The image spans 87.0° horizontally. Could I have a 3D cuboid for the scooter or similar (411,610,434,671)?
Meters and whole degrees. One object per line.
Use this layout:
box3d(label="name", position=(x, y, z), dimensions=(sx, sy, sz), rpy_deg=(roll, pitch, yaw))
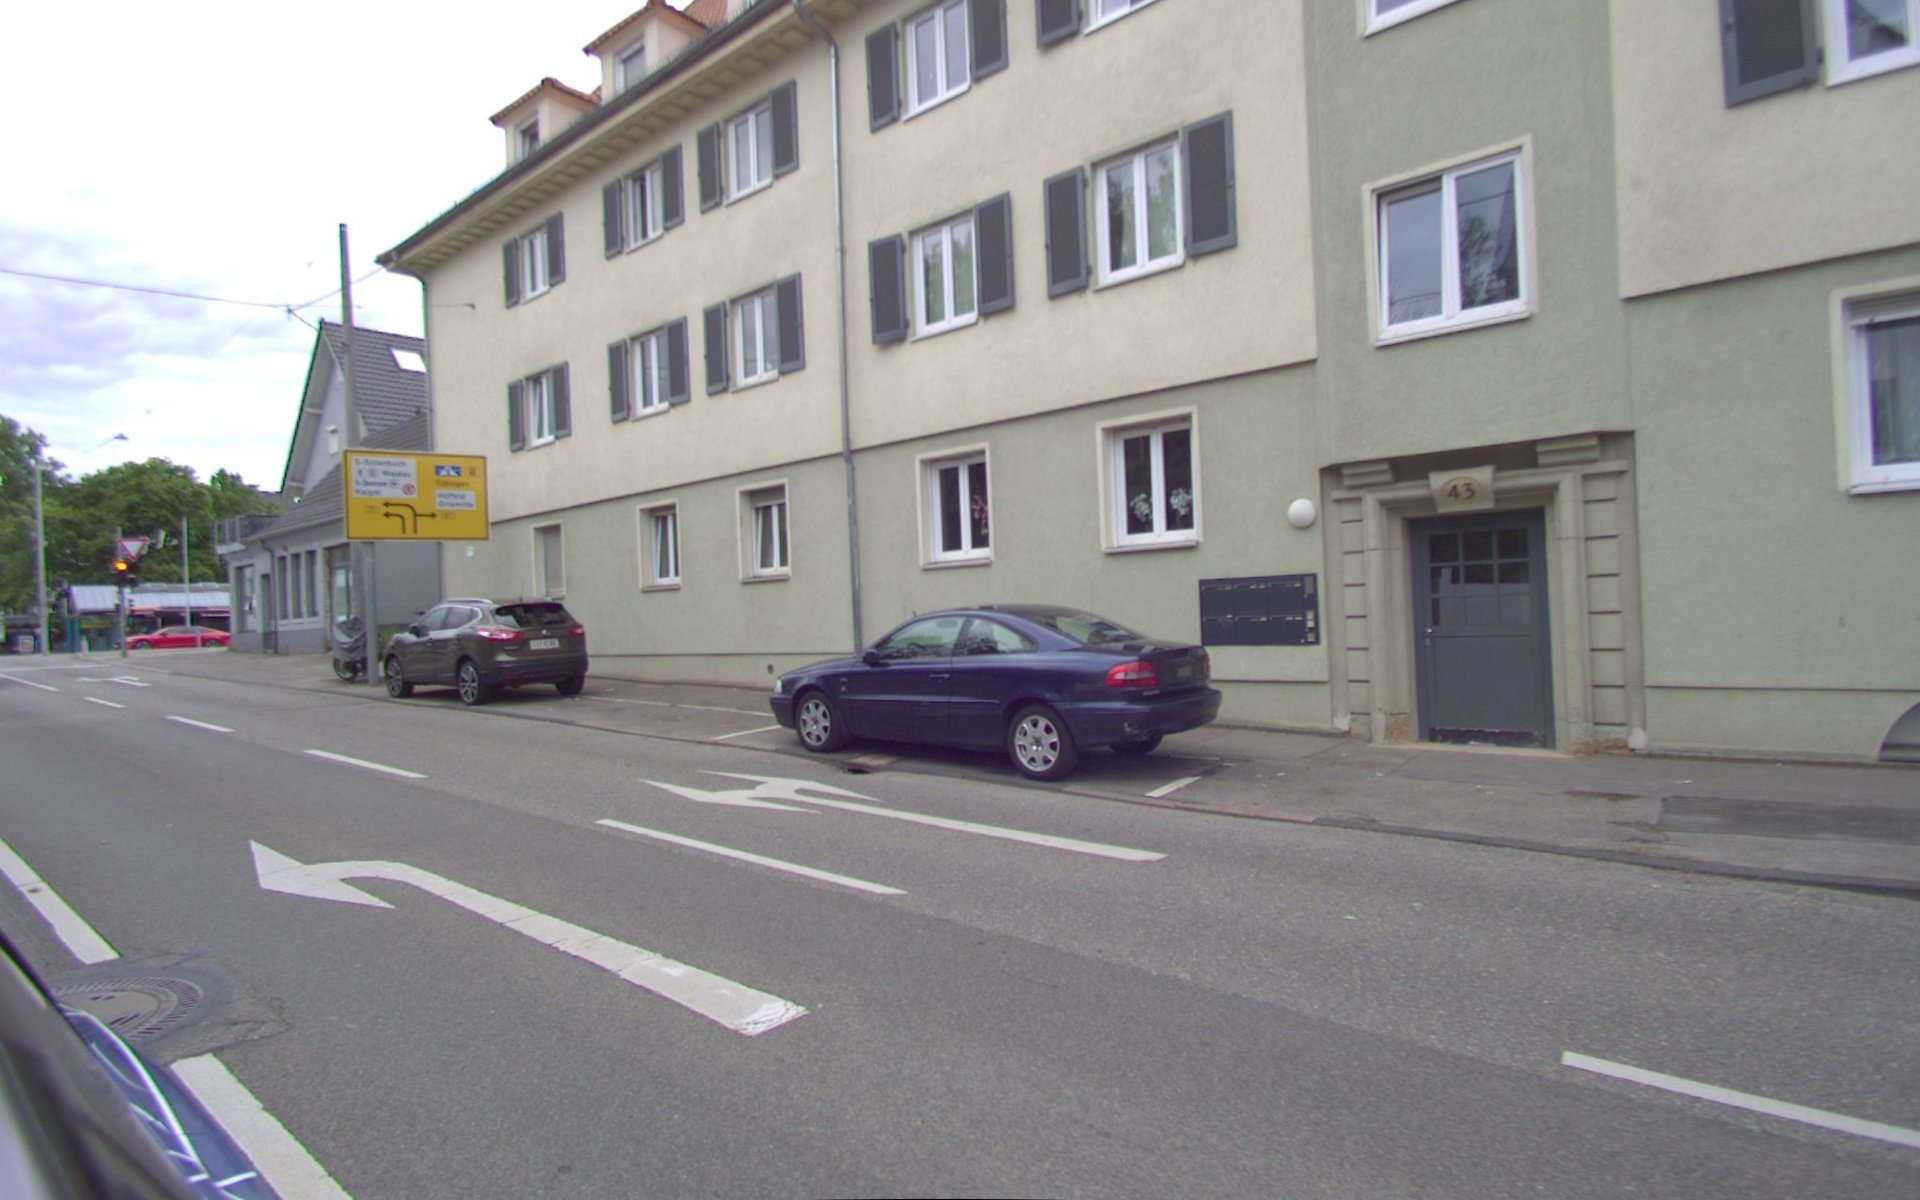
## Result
box3d(label="scooter or similar", position=(-11.743, 0.871, 22.114), dimensions=(0.351, 1.274, 0.989), rpy_deg=(-2, 2, -26))

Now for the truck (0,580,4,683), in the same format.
box3d(label="truck", position=(-23.882, 0.762, 23.254), dimensions=(6.585, 2.218, 2.099), rpy_deg=(-2, 0, 41))

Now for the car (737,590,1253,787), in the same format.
box3d(label="car", position=(0.104, 0.681, 9.565), dimensions=(4.841, 1.413, 1.693), rpy_deg=(-1, 0, 40))

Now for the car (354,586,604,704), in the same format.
box3d(label="car", position=(-7.987, 0.680, 16.607), dimensions=(4.691, 1.645, 1.804), rpy_deg=(-2, 1, 39))

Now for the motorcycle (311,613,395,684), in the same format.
box3d(label="motorcycle", position=(-11.919, 0.926, 19.848), dimensions=(2.227, 1.300, 0.619), rpy_deg=(-1, 1, 39))

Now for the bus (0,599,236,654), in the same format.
box3d(label="bus", position=(-51.875, 1.544, 62.351), dimensions=(2.000, 3.086, 11.689), rpy_deg=(-4, -3, 43))

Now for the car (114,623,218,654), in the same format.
box3d(label="car", position=(-40.886, 1.960, 52.167), dimensions=(1.778, 1.420, 3.947), rpy_deg=(-1, -1, 40))
